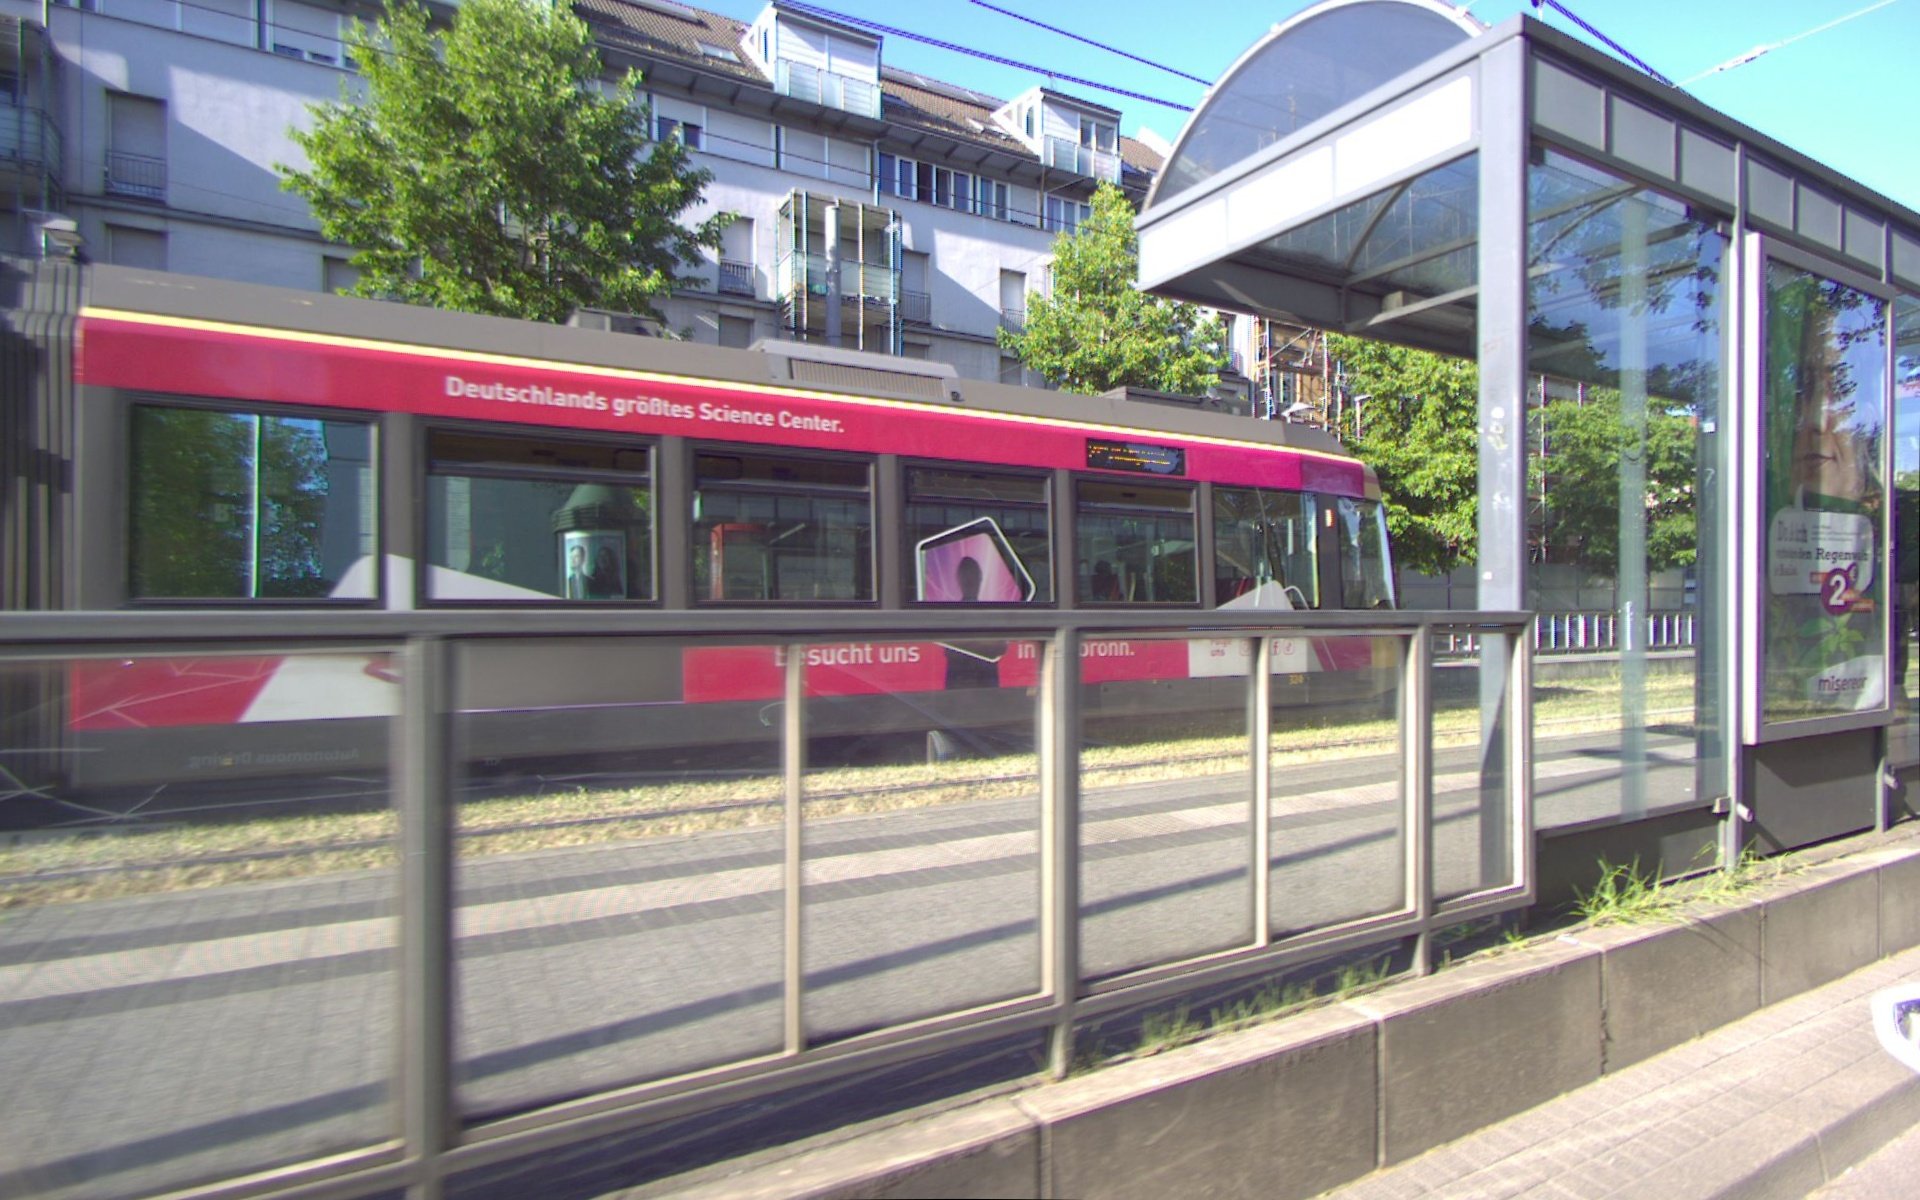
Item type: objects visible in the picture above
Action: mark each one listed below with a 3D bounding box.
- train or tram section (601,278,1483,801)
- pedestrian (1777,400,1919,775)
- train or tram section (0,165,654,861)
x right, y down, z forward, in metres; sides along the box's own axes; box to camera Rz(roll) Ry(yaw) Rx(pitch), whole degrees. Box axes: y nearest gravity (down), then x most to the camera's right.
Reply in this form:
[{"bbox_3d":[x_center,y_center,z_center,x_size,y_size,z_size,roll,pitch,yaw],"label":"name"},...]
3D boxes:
[{"bbox_3d":[1.380,-0.399,10.803,9.568,3.734,2.856,0,-1,-30],"label":"train or tram section"},{"bbox_3d":[5.160,-0.068,5.596,0.815,1.928,0.666,0,2,-31],"label":"pedestrian"},{"bbox_3d":[-9.080,-0.463,4.756,14.386,3.734,2.856,0,-1,-30],"label":"train or tram section"}]
